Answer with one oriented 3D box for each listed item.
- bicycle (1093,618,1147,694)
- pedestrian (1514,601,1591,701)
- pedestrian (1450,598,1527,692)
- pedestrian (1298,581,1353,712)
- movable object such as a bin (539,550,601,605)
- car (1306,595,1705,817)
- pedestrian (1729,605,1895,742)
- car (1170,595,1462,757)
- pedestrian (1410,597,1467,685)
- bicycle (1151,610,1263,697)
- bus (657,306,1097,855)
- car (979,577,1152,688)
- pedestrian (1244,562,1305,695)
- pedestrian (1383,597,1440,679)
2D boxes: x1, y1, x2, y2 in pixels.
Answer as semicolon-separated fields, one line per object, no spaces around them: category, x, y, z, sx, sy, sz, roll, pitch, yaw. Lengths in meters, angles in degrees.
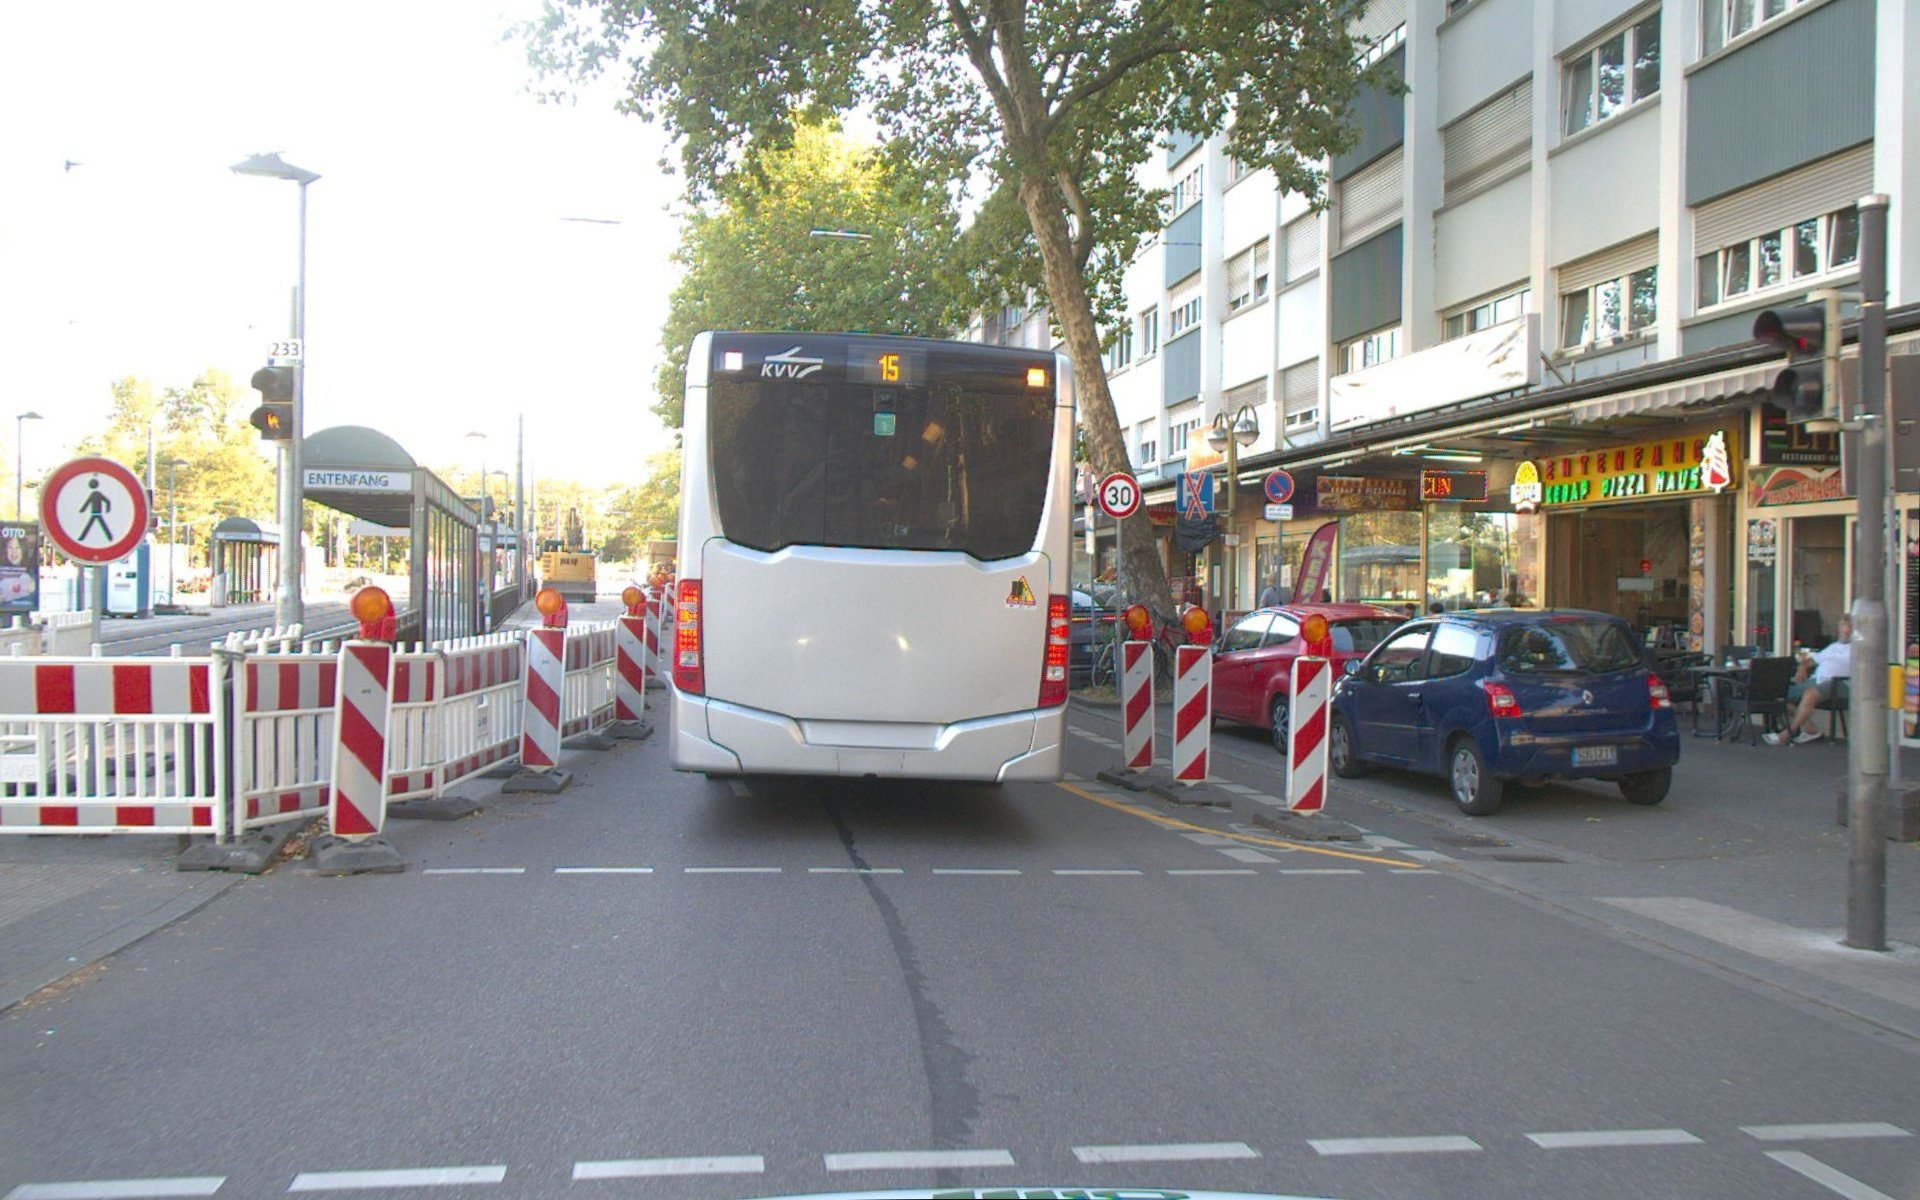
bicycle;2.216;0.768;23.034;0.290;0.944;1.125;-4;4;-18
pedestrian;7.292;0.617;20.375;0.582;1.177;0.751;-2;0;-7
pedestrian;7.250;0.614;22.738;0.846;1.242;0.697;-2;0;6
pedestrian;5.776;0.727;26.178;0.601;2.049;0.694;1;0;-11
movable object such as a bin;-18.375;-1.057;78.115;2.758;2.505;3.988;1;1;-13
car;4.317;0.751;13.679;1.590;1.491;3.596;-1;1;-11
pedestrian;8.340;0.700;16.215;1.180;1.254;0.778;-2;0;-6
car;3.690;0.722;17.822;1.637;1.454;3.836;-2;1;-12
pedestrian;7.065;0.598;24.452;0.603;1.265;0.712;-2;0;1
bicycle;3.338;0.719;22.388;1.429;1.085;0.296;-3;4;4
bus;-0.989;-0.139;15.032;2.558;3.225;10.279;2;0;-6
car;1.634;0.460;27.108;1.709;1.625;4.286;-2;1;-12
pedestrian;4.910;0.436;25.844;0.679;2.049;0.693;1;0;-15
pedestrian;6.957;0.577;25.483;0.663;1.224;0.704;-2;0;2
